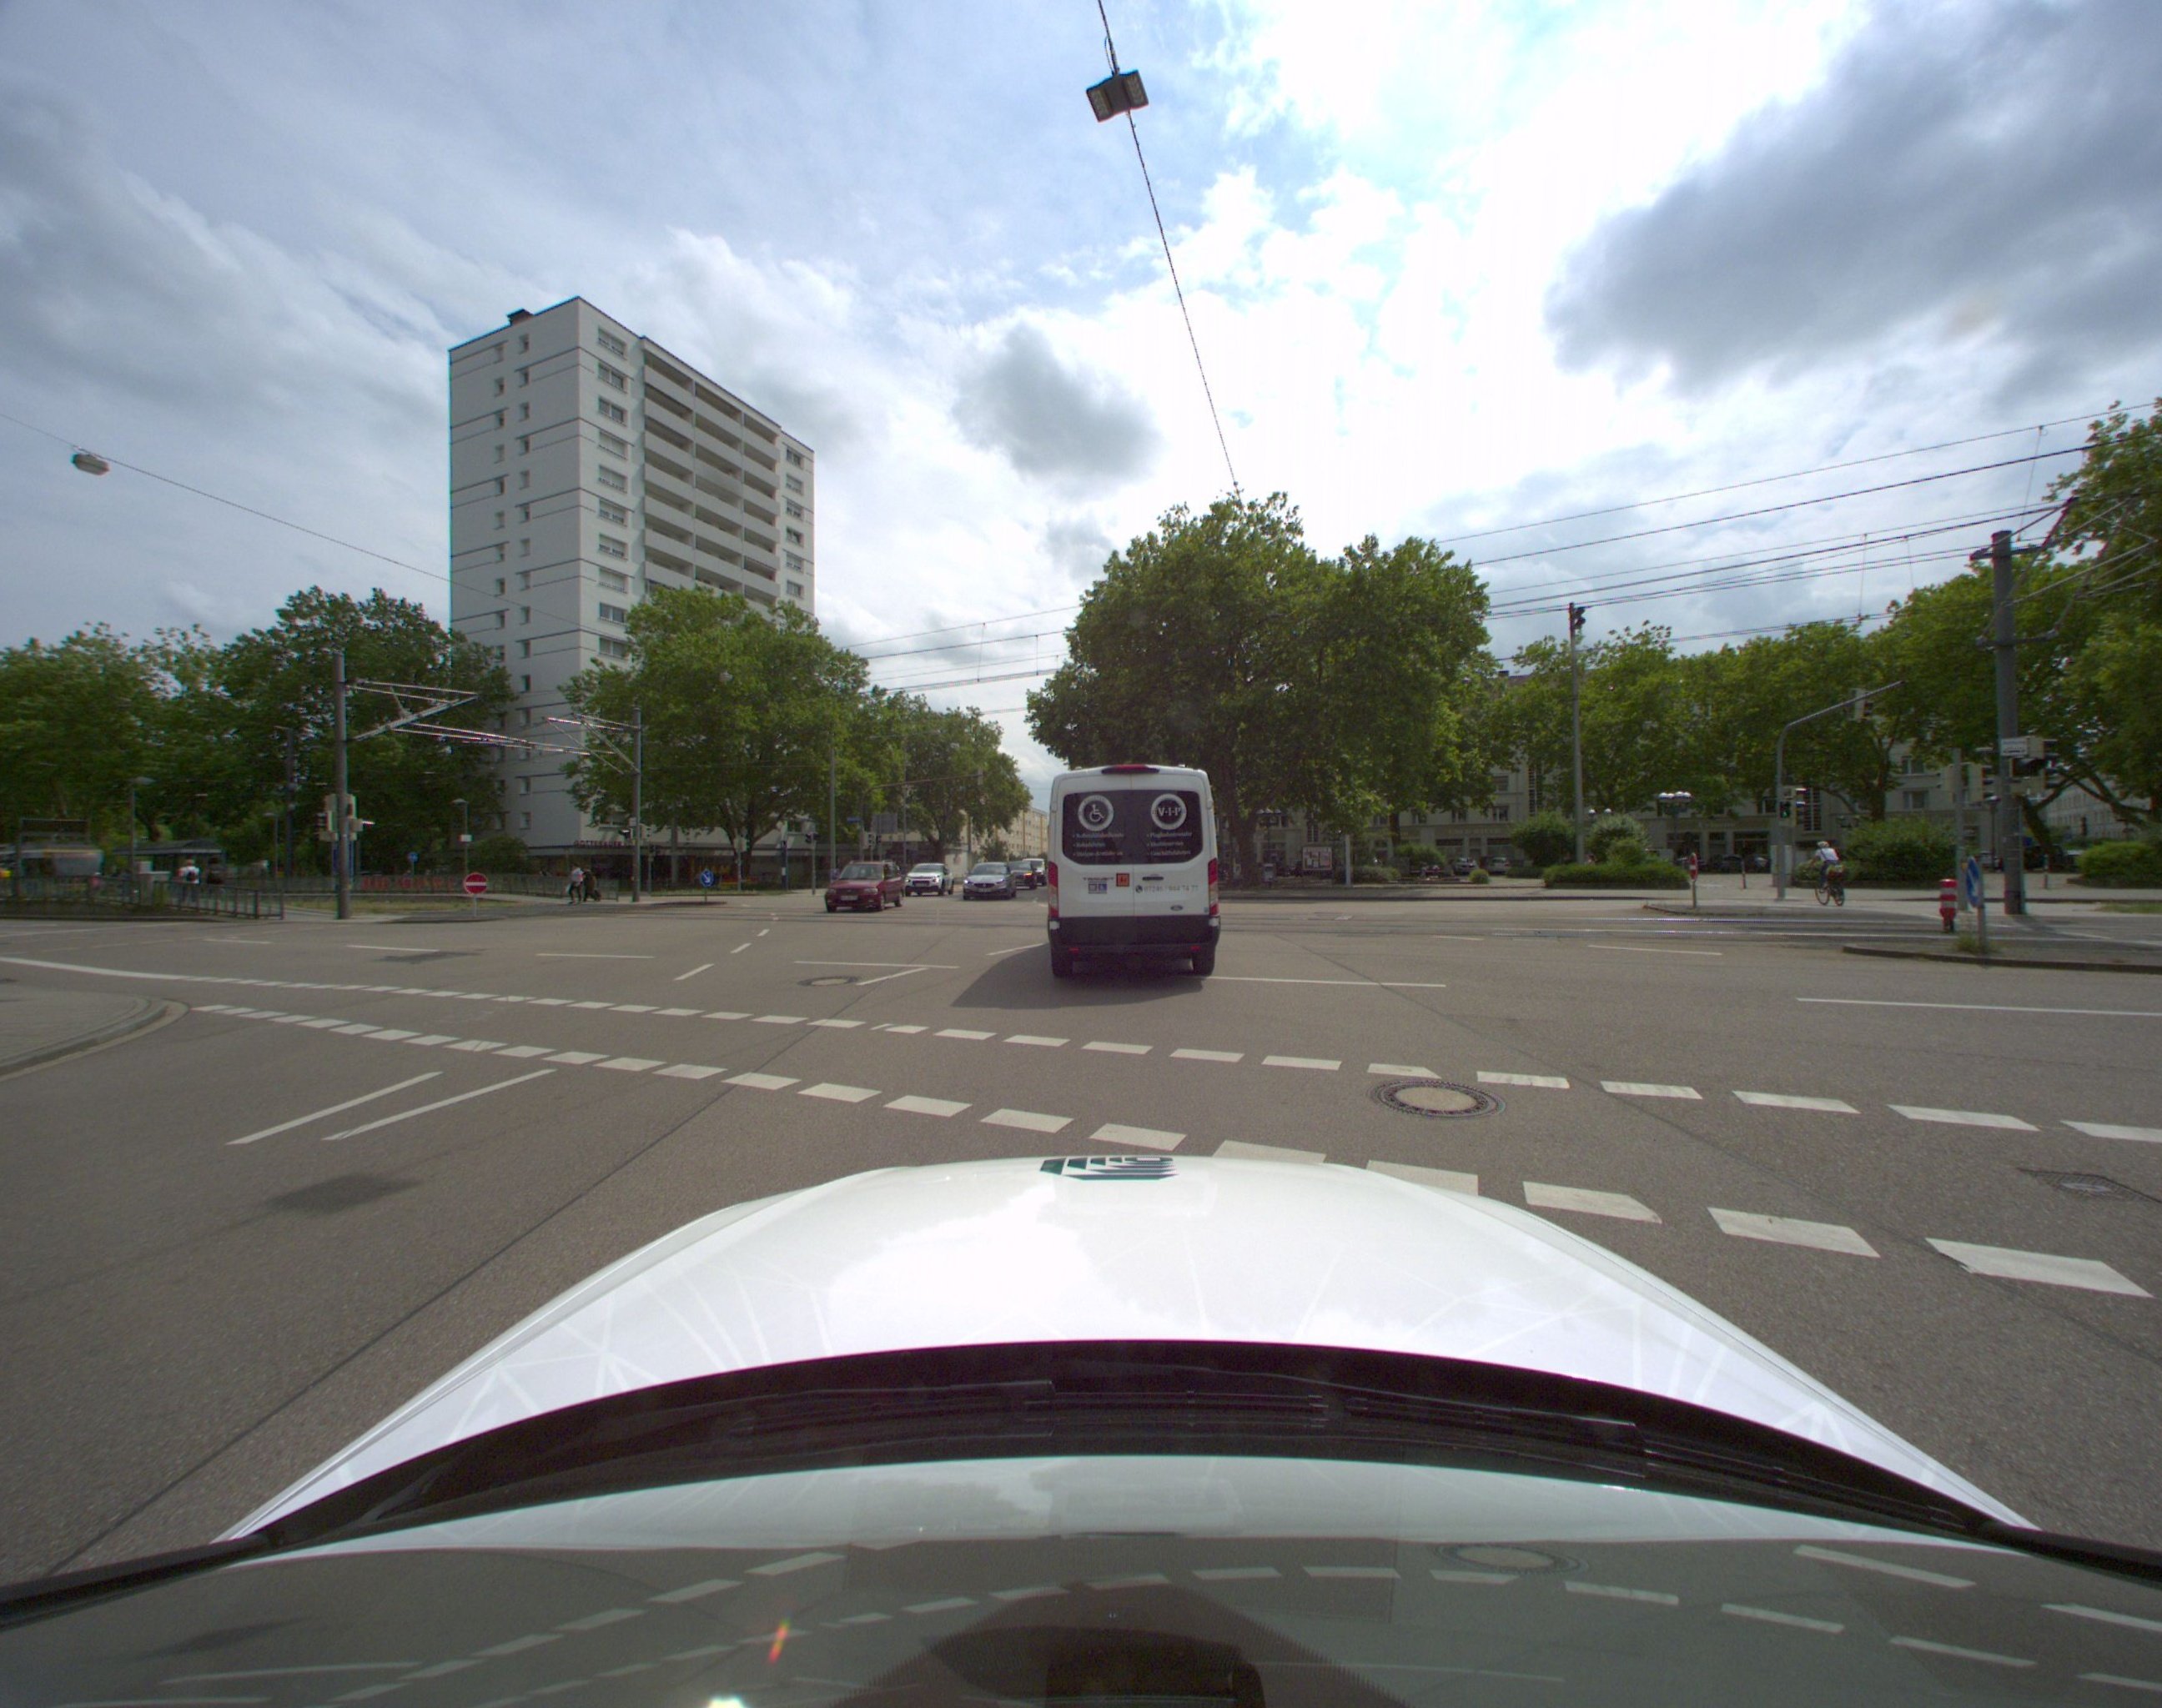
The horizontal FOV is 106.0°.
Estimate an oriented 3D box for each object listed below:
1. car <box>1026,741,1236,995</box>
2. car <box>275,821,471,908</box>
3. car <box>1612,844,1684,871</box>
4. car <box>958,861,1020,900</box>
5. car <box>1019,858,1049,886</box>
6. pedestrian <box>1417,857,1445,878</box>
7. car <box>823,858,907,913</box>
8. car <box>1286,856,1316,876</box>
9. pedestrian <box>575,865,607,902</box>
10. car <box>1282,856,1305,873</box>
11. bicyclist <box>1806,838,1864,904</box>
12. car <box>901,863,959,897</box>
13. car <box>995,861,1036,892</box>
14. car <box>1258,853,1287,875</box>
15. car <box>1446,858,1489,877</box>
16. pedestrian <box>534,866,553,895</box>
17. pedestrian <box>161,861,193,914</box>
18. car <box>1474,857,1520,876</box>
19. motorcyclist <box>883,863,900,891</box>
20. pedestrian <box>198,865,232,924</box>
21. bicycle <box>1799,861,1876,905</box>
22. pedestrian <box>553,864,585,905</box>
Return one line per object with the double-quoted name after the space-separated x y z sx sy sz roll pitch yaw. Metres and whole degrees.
0.472 0.134 11.094 2.176 2.647 4.624 -2 0 -2 "car"
-35.110 0.543 40.328 9.796 3.915 3.475 -1 -1 24 "car"
40.827 0.266 58.724 3.951 1.883 1.868 -1 -1 23 "car"
-3.542 0.993 31.934 1.825 1.427 4.122 -1 -1 1 "car"
-3.365 1.303 59.594 1.736 1.930 4.855 -1 -1 2 "car"
21.551 0.825 50.211 1.086 1.236 1.442 -3 -1 4 "pedestrian"
-6.520 0.912 24.916 1.587 1.508 3.805 -1 -1 -1 "car"
19.905 1.079 73.839 1.796 1.684 4.004 -1 -1 4 "car"
-20.591 1.248 34.210 0.718 1.514 0.934 -1 -1 5 "pedestrian"
21.963 1.092 84.128 1.789 1.684 4.021 -1 -1 21 "car"
19.705 0.433 21.303 0.895 1.683 0.761 -1 -1 25 "bicyclist"
-6.782 1.120 36.865 1.736 1.427 4.033 -1 -1 1 "car"
-3.456 1.168 43.792 1.736 1.588 4.330 -1 -1 1 "car"
17.410 0.939 74.279 1.985 1.931 4.004 -1 -1 4 "car"
32.317 1.091 68.217 1.985 1.503 4.004 -1 -1 4 "car"
-35.430 1.723 53.658 0.755 1.884 0.744 -1 -1 25 "pedestrian"
-32.156 1.176 28.975 0.542 1.869 0.577 -1 -1 17 "pedestrian"
34.560 1.043 67.761 1.985 1.519 4.004 -1 -1 4 "car"
-9.562 1.163 41.158 0.681 1.395 0.681 -1 -1 -1 "motorcyclist"
-31.532 1.467 29.653 0.585 2.086 0.657 -1 -1 17 "pedestrian"
19.710 0.741 21.276 0.894 1.075 1.981 -1 -1 25 "bicycle"
-20.005 1.190 31.842 0.799 1.572 0.728 -1 -1 26 "pedestrian"
